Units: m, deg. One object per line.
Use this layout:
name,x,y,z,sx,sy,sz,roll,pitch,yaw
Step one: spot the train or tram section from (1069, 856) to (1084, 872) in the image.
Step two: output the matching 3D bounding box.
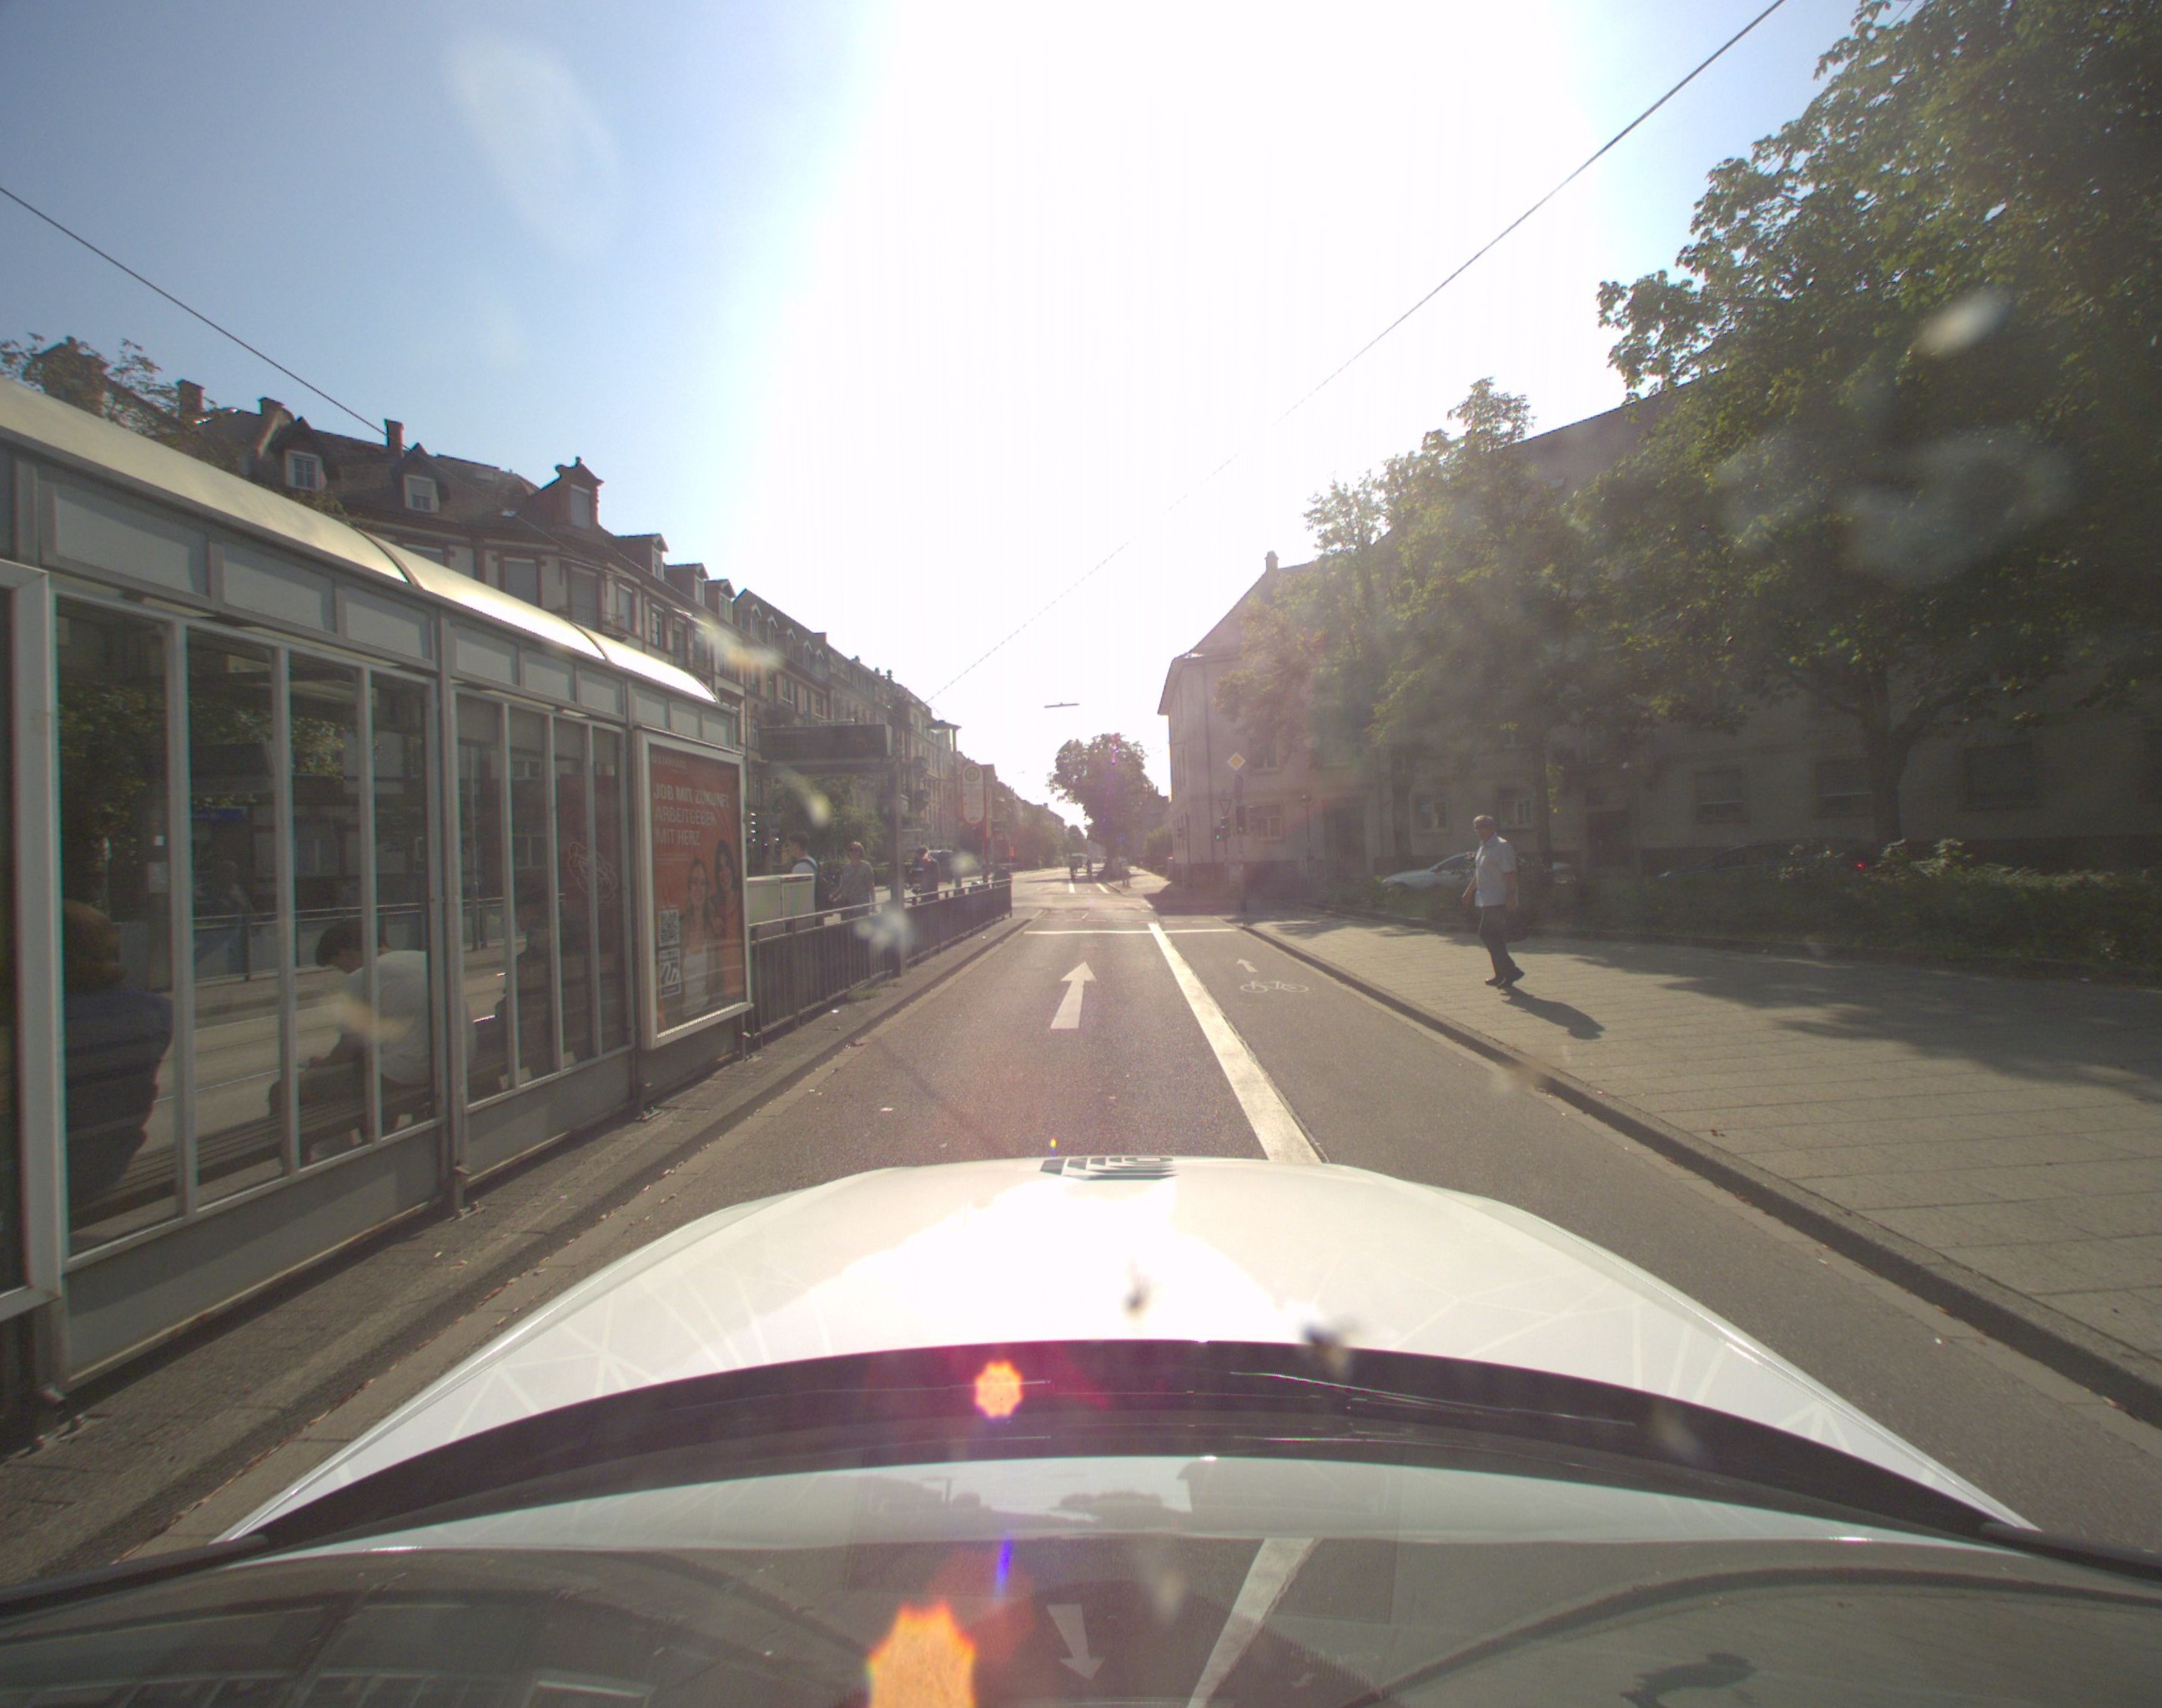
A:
train or tram section,-0.885,2.284,190.154,2.724,3.506,15.439,-2,-1,2

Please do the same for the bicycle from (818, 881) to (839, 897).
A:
bicycle,-15.181,2.092,48.962,0.523,0.927,1.705,-2,0,6

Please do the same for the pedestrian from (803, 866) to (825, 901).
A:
pedestrian,-14.392,1.579,43.896,0.725,1.806,1.093,-2,-1,1

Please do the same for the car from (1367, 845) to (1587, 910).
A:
car,10.461,0.653,21.803,4.891,1.469,1.888,-3,1,43

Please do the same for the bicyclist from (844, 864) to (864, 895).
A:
bicyclist,-12.261,1.373,44.050,0.670,1.614,1.045,-2,-1,4

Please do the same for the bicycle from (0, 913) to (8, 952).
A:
bicycle,-28.868,2.071,20.710,1.793,1.014,0.652,-2,-1,-25

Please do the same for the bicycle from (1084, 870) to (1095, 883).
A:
bicycle,0.586,1.528,55.294,0.652,0.909,1.775,0,-1,2

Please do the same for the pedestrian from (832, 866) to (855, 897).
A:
pedestrian,-14.107,1.630,48.414,0.900,1.766,1.187,-2,-1,6

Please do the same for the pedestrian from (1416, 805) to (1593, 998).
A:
pedestrian,4.213,0.446,8.175,0.970,1.724,1.073,-5,-1,-20

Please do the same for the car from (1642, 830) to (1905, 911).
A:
car,14.464,0.338,17.235,1.758,1.451,3.850,-3,1,-32

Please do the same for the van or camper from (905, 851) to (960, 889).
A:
van or camper,-11.357,1.237,62.768,2.038,2.644,6.105,-3,-1,9

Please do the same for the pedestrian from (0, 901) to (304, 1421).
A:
pedestrian,-3.025,0.841,2.480,0.683,1.340,0.623,-2,-1,2

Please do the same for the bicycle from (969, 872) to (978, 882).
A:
bicycle,-11.983,2.524,90.605,0.604,1.058,1.841,2,-1,4

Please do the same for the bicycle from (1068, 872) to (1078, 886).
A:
bicycle,-0.547,1.745,56.728,0.624,0.909,1.525,0,-1,2

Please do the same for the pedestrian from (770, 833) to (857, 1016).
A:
pedestrian,-2.778,0.706,8.511,0.601,1.806,0.730,-2,-1,1

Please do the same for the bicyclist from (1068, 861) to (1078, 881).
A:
bicyclist,-0.532,1.199,56.749,0.624,1.401,0.930,0,-1,2

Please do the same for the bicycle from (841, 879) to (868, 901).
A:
bicycle,-12.250,1.916,44.074,0.681,1.103,2.072,-2,-1,5

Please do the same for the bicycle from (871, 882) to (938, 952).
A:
bicycle,-3.094,1.086,14.423,0.469,1.104,1.742,-2,-1,11

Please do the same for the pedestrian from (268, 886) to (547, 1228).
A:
pedestrian,-3.005,0.856,3.696,0.705,1.378,0.623,-2,-1,2

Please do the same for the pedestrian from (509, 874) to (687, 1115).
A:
pedestrian,-2.977,0.829,5.073,0.683,1.378,0.623,-2,-1,2

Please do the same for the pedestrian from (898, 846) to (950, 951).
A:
pedestrian,-2.746,0.770,14.321,0.687,1.766,0.796,-2,-1,1

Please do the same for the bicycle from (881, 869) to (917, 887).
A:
bicycle,-15.550,2.021,69.716,2.869,1.455,0.996,-1,-1,-5

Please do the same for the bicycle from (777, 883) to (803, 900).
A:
bicycle,-15.843,2.028,44.375,0.523,0.860,1.831,-2,0,6

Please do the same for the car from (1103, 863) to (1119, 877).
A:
car,3.478,1.814,93.171,1.639,1.448,4.248,-4,-1,3

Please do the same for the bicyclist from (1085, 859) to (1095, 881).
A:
bicyclist,0.590,1.075,55.288,0.652,1.474,0.909,0,-1,2

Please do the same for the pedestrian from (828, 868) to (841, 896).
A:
pedestrian,-15.004,1.696,49.513,0.636,1.678,0.631,-2,-1,-10

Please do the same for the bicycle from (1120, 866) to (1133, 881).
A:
bicycle,3.428,1.464,61.348,0.769,1.104,2.333,-2,-1,0

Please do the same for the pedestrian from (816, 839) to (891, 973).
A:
pedestrian,-3.094,0.691,11.148,0.765,1.760,0.680,-2,-1,1

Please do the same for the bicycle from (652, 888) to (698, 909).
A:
bicycle,-18.919,2.049,37.954,0.521,0.860,1.839,-3,-1,40

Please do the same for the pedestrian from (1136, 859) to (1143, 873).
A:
pedestrian,7.099,1.438,98.307,0.748,1.749,0.880,-2,-1,9

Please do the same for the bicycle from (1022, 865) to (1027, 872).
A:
bicycle,-9.615,2.458,138.657,0.506,1.108,2.005,-2,-1,3
